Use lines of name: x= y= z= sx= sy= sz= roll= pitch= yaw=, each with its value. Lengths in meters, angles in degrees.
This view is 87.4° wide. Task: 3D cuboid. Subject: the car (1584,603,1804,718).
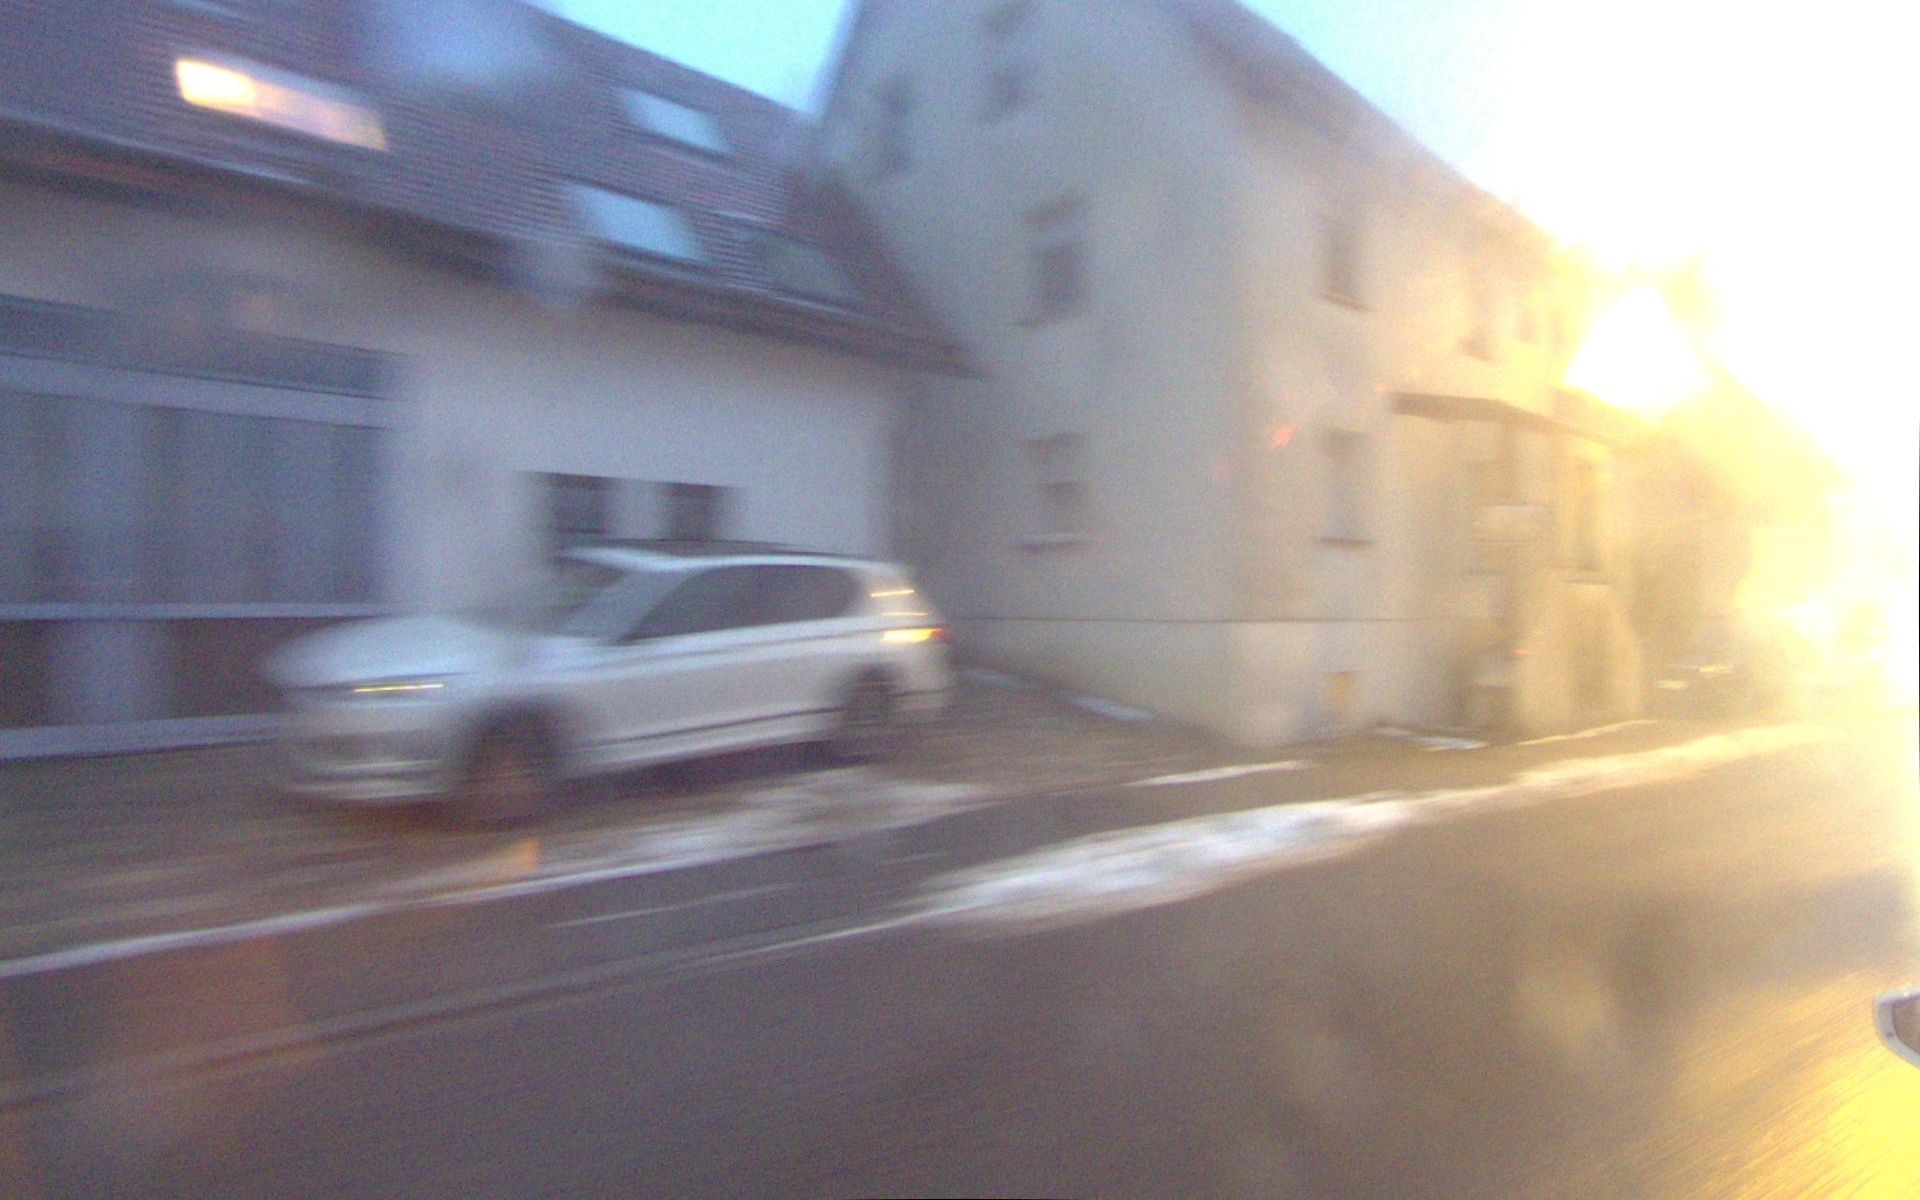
car: x=12.067 y=0.863 z=16.419 sx=4.157 sy=1.543 sz=1.976 roll=0 pitch=3 yaw=-41

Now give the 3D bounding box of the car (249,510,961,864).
car: x=-2.247 y=0.345 z=7.365 sx=1.746 sy=1.760 sz=4.610 roll=7 pitch=6 yaw=44
